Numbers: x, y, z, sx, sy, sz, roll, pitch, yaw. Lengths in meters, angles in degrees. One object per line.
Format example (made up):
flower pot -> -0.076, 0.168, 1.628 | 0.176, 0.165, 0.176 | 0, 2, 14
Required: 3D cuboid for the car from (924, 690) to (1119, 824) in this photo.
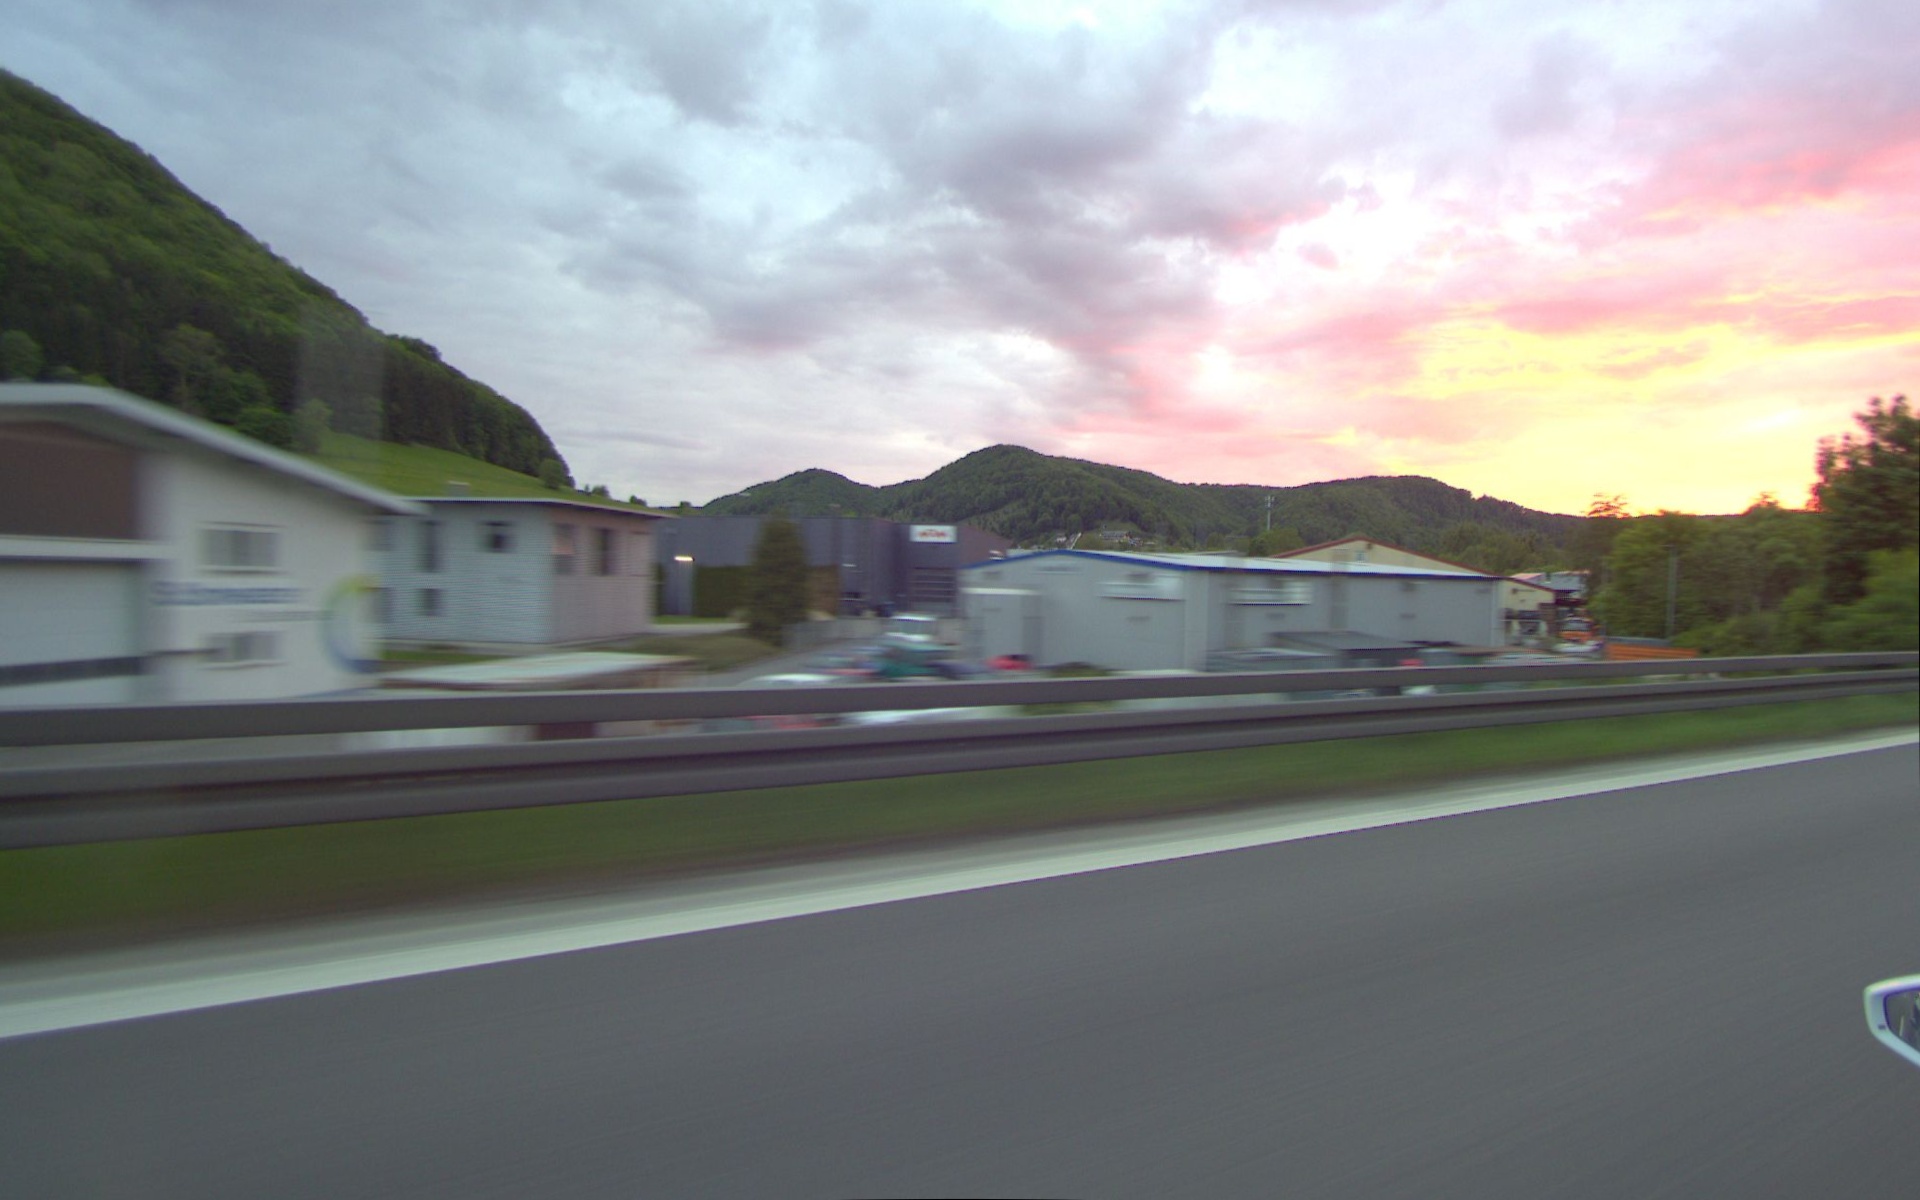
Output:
car -> 0.944, 2.617, 17.704 | 1.748, 1.715, 3.975 | 2, 0, -25
